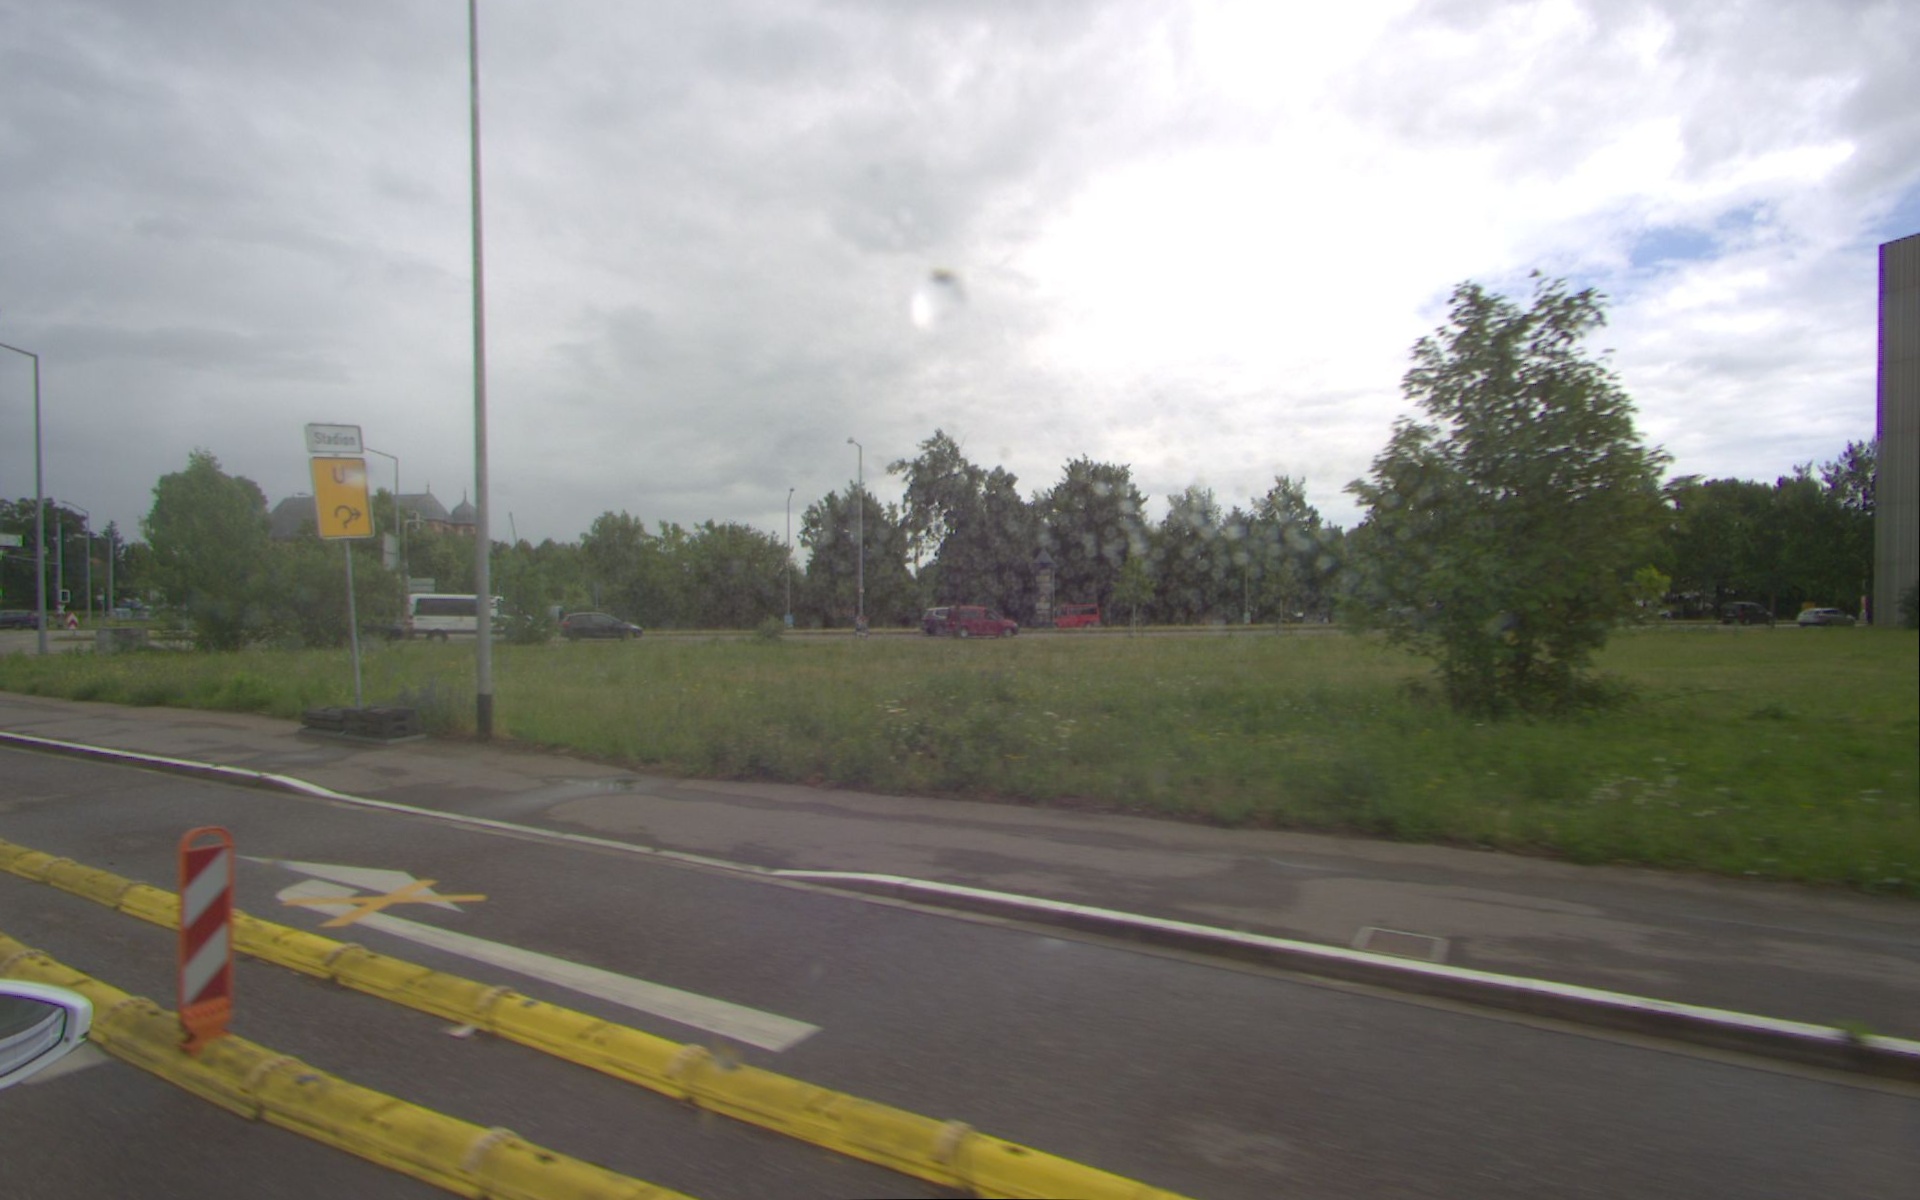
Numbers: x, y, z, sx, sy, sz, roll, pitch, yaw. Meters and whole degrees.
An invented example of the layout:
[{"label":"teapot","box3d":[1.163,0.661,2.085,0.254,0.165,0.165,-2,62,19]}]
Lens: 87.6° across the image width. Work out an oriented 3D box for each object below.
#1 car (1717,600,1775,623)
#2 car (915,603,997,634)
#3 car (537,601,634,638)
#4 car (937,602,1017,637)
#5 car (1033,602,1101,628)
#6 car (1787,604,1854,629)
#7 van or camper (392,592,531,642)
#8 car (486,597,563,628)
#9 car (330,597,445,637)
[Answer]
[{"label":"car","box3d":[63.494,0.950,80.897,3.932,1.806,1.858,0,0,-20]},{"label":"car","box3d":[-0.266,1.080,60.238,4.529,1.819,2.111,0,0,-19]},{"label":"car","box3d":[-19.004,0.990,50.909,4.532,1.819,2.109,0,0,-22]},{"label":"car","box3d":[0.982,1.104,57.424,4.136,1.943,2.110,0,0,-19]},{"label":"car","box3d":[8.197,1.129,77.009,4.804,1.943,2.111,0,0,-17]},{"label":"car","box3d":[64.578,1.211,75.148,4.136,1.838,2.073,0,0,-19]},{"label":"van or camper","box3d":[-22.499,0.749,45.312,5.478,2.143,1.988,0,0,-33]},{"label":"car","box3d":[-29.089,0.854,67.076,4.394,2.040,1.998,0,0,-11]},{"label":"car","box3d":[-26.712,0.761,46.787,4.331,1.773,1.981,0,0,-43]}]
